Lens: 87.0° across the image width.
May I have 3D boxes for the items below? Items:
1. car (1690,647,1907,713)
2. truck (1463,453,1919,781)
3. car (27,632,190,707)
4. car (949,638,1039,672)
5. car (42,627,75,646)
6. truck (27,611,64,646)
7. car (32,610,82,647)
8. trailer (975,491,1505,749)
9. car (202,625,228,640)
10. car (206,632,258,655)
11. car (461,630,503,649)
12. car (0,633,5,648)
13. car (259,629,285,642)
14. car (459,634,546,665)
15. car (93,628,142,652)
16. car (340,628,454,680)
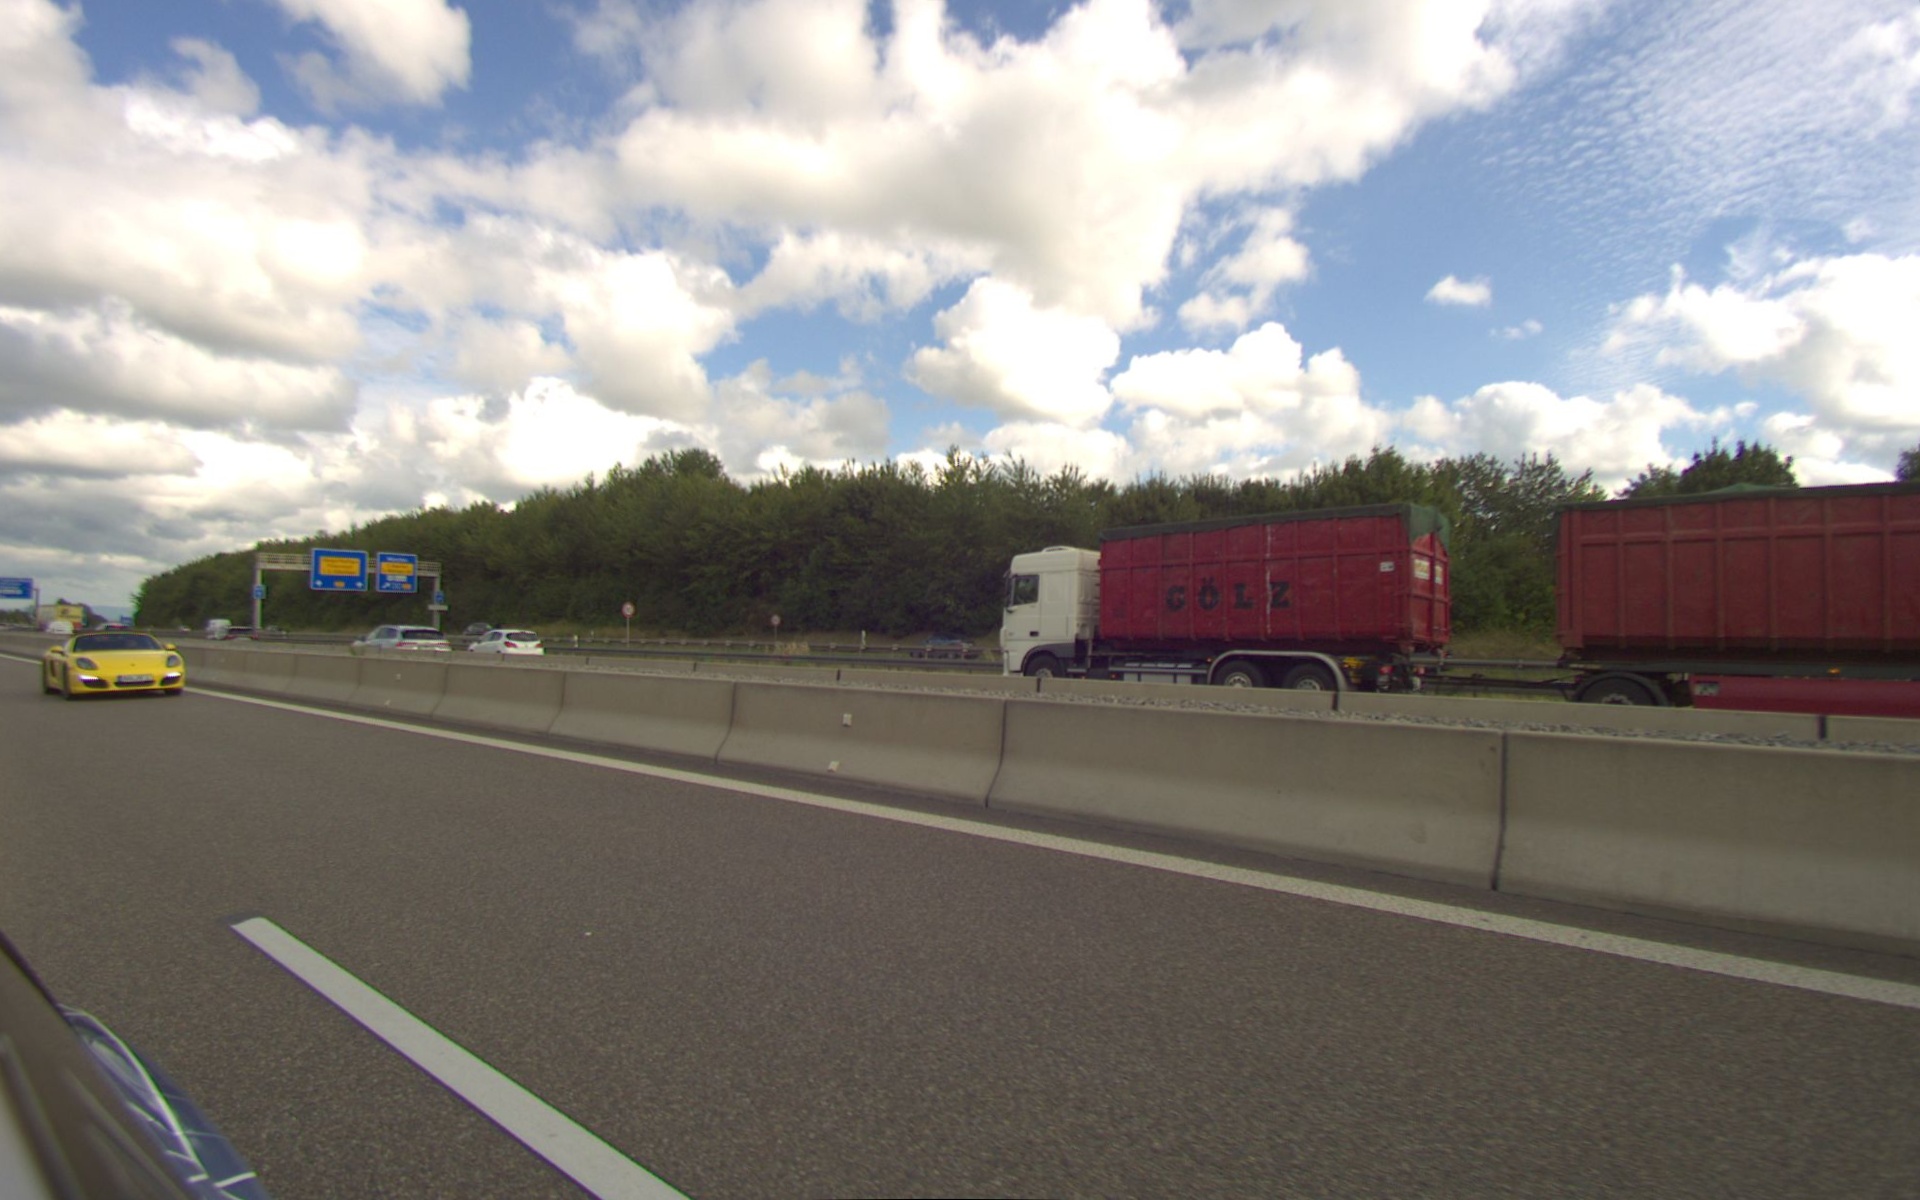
[{"bbox_3d":[22.823,2.120,27.720,4.450,1.545,1.711,-1,-2,41],"label":"car"},{"bbox_3d":[12.669,0.273,15.275,8.583,4.321,3.015,-1,-2,41],"label":"truck"},{"bbox_3d":[-16.888,1.321,20.011,4.245,1.325,1.787,-2,-4,41],"label":"car"},{"bbox_3d":[1.651,2.729,50.576,4.451,1.545,1.710,-1,-2,42],"label":"car"},{"bbox_3d":[-89.382,3.614,100.315,5.121,1.808,1.715,-1,-2,41],"label":"car"},{"bbox_3d":[-119.062,3.734,131.764,5.159,4.356,2.866,-2,-3,42],"label":"truck"},{"bbox_3d":[-112.766,3.610,126.255,14.138,4.358,2.875,-2,-3,41],"label":"car"},{"bbox_3d":[5.340,0.457,21.597,10.649,4.321,3.015,-1,-2,41],"label":"trailer"},{"bbox_3d":[-113.132,4.953,153.683,5.889,2.252,1.972,-2,-3,43],"label":"car"},{"bbox_3d":[-42.105,2.483,58.479,4.240,1.294,1.563,-2,-2,42],"label":"car"},{"bbox_3d":[-43.347,3.559,91.686,4.418,1.674,1.862,-1,-3,42],"label":"car"},{"bbox_3d":[-131.780,5.520,138.161,4.551,2.029,1.734,-1,-1,41],"label":"car"},{"bbox_3d":[-91.844,4.738,135.106,4.418,1.674,1.827,-1,-3,42],"label":"car"},{"bbox_3d":[-18.470,1.962,40.820,4.128,1.202,1.638,-1,-2,41],"label":"car"},{"bbox_3d":[-52.114,2.453,62.595,4.073,1.413,1.738,-2,-2,42],"label":"car"},{"bbox_3d":[-17.814,1.653,31.941,4.640,1.516,1.671,-1,-2,41],"label":"car"}]
